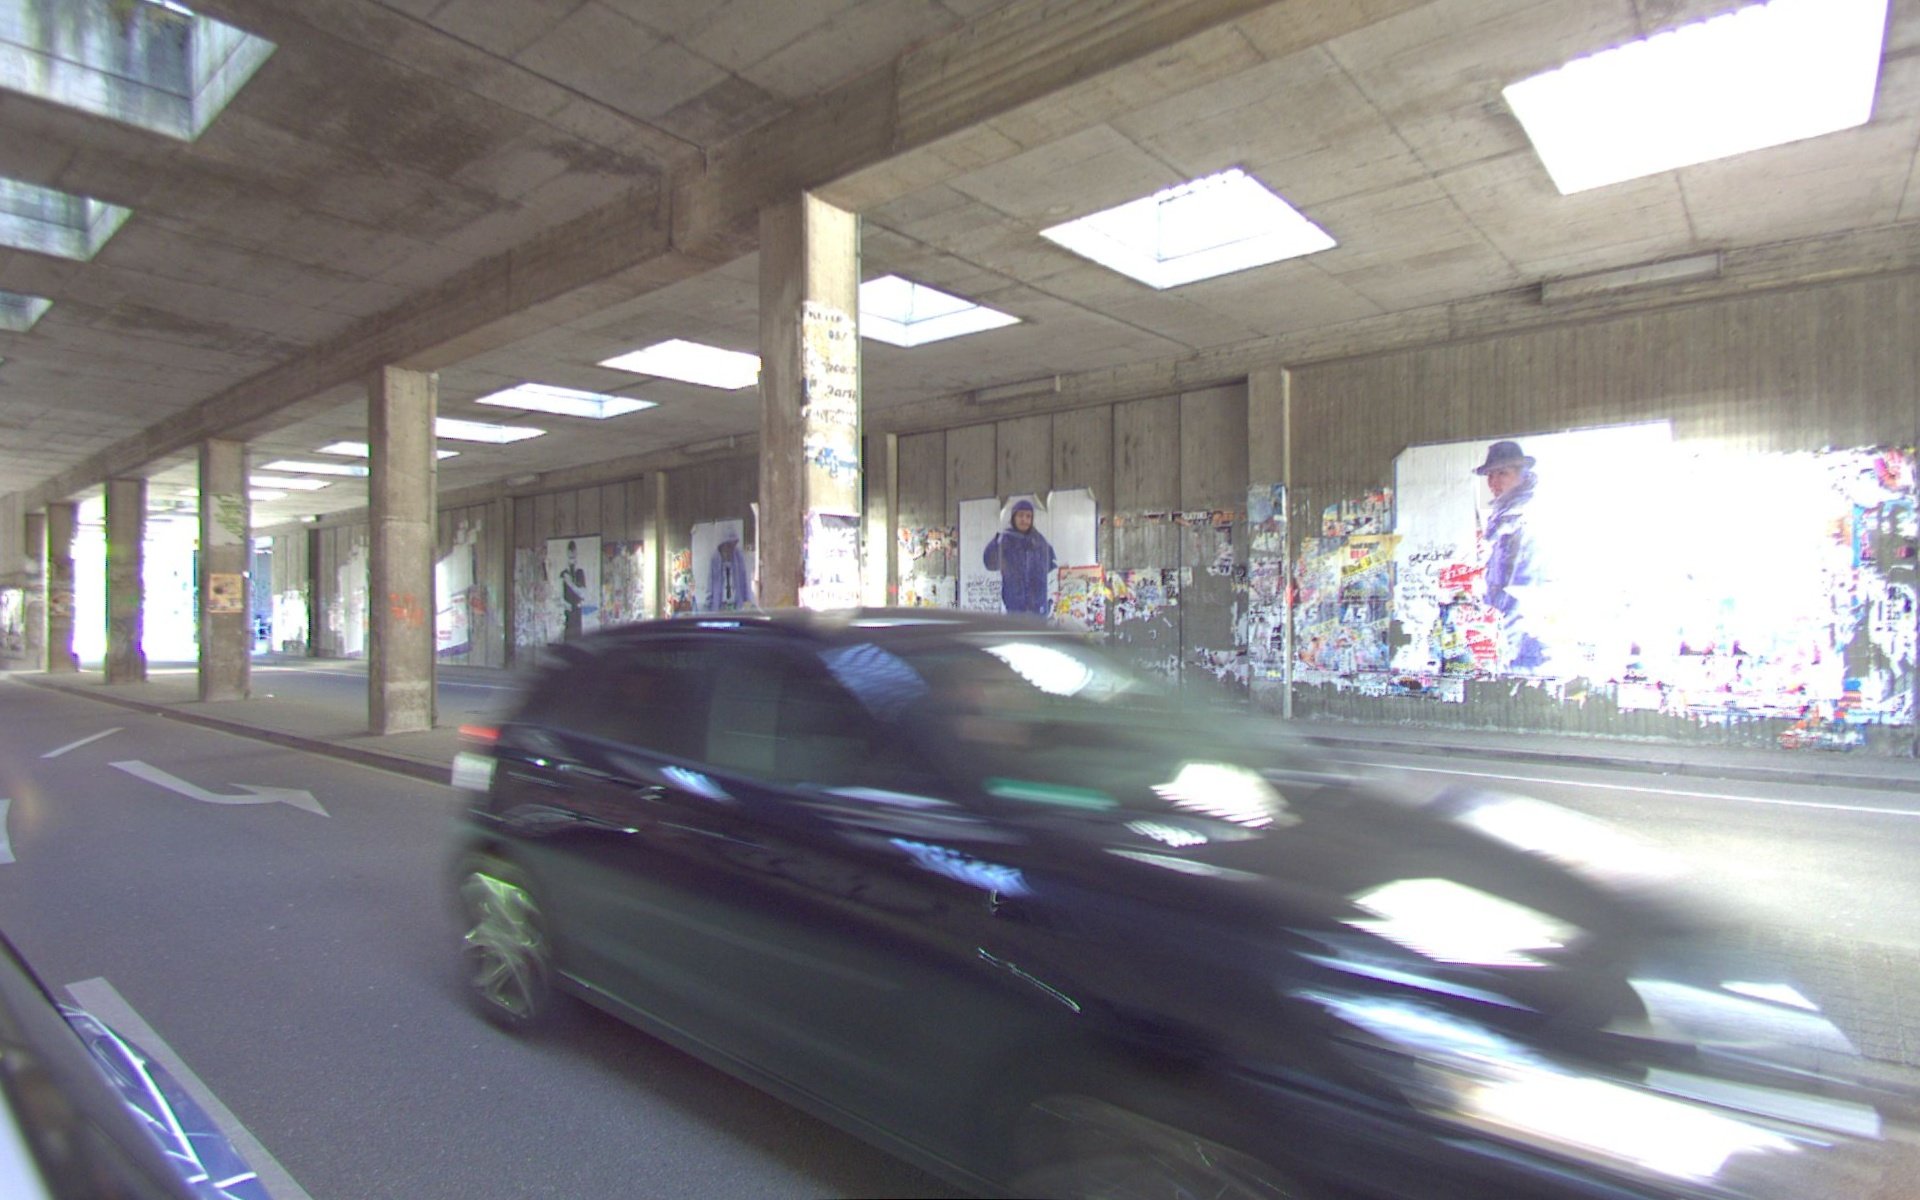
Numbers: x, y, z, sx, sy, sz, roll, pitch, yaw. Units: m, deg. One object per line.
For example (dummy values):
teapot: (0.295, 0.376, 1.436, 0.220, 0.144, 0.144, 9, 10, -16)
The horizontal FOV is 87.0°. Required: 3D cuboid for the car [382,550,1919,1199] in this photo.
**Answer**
car: (0.036, 0.707, 3.056, 4.175, 1.458, 1.762, -1, -1, 40)
